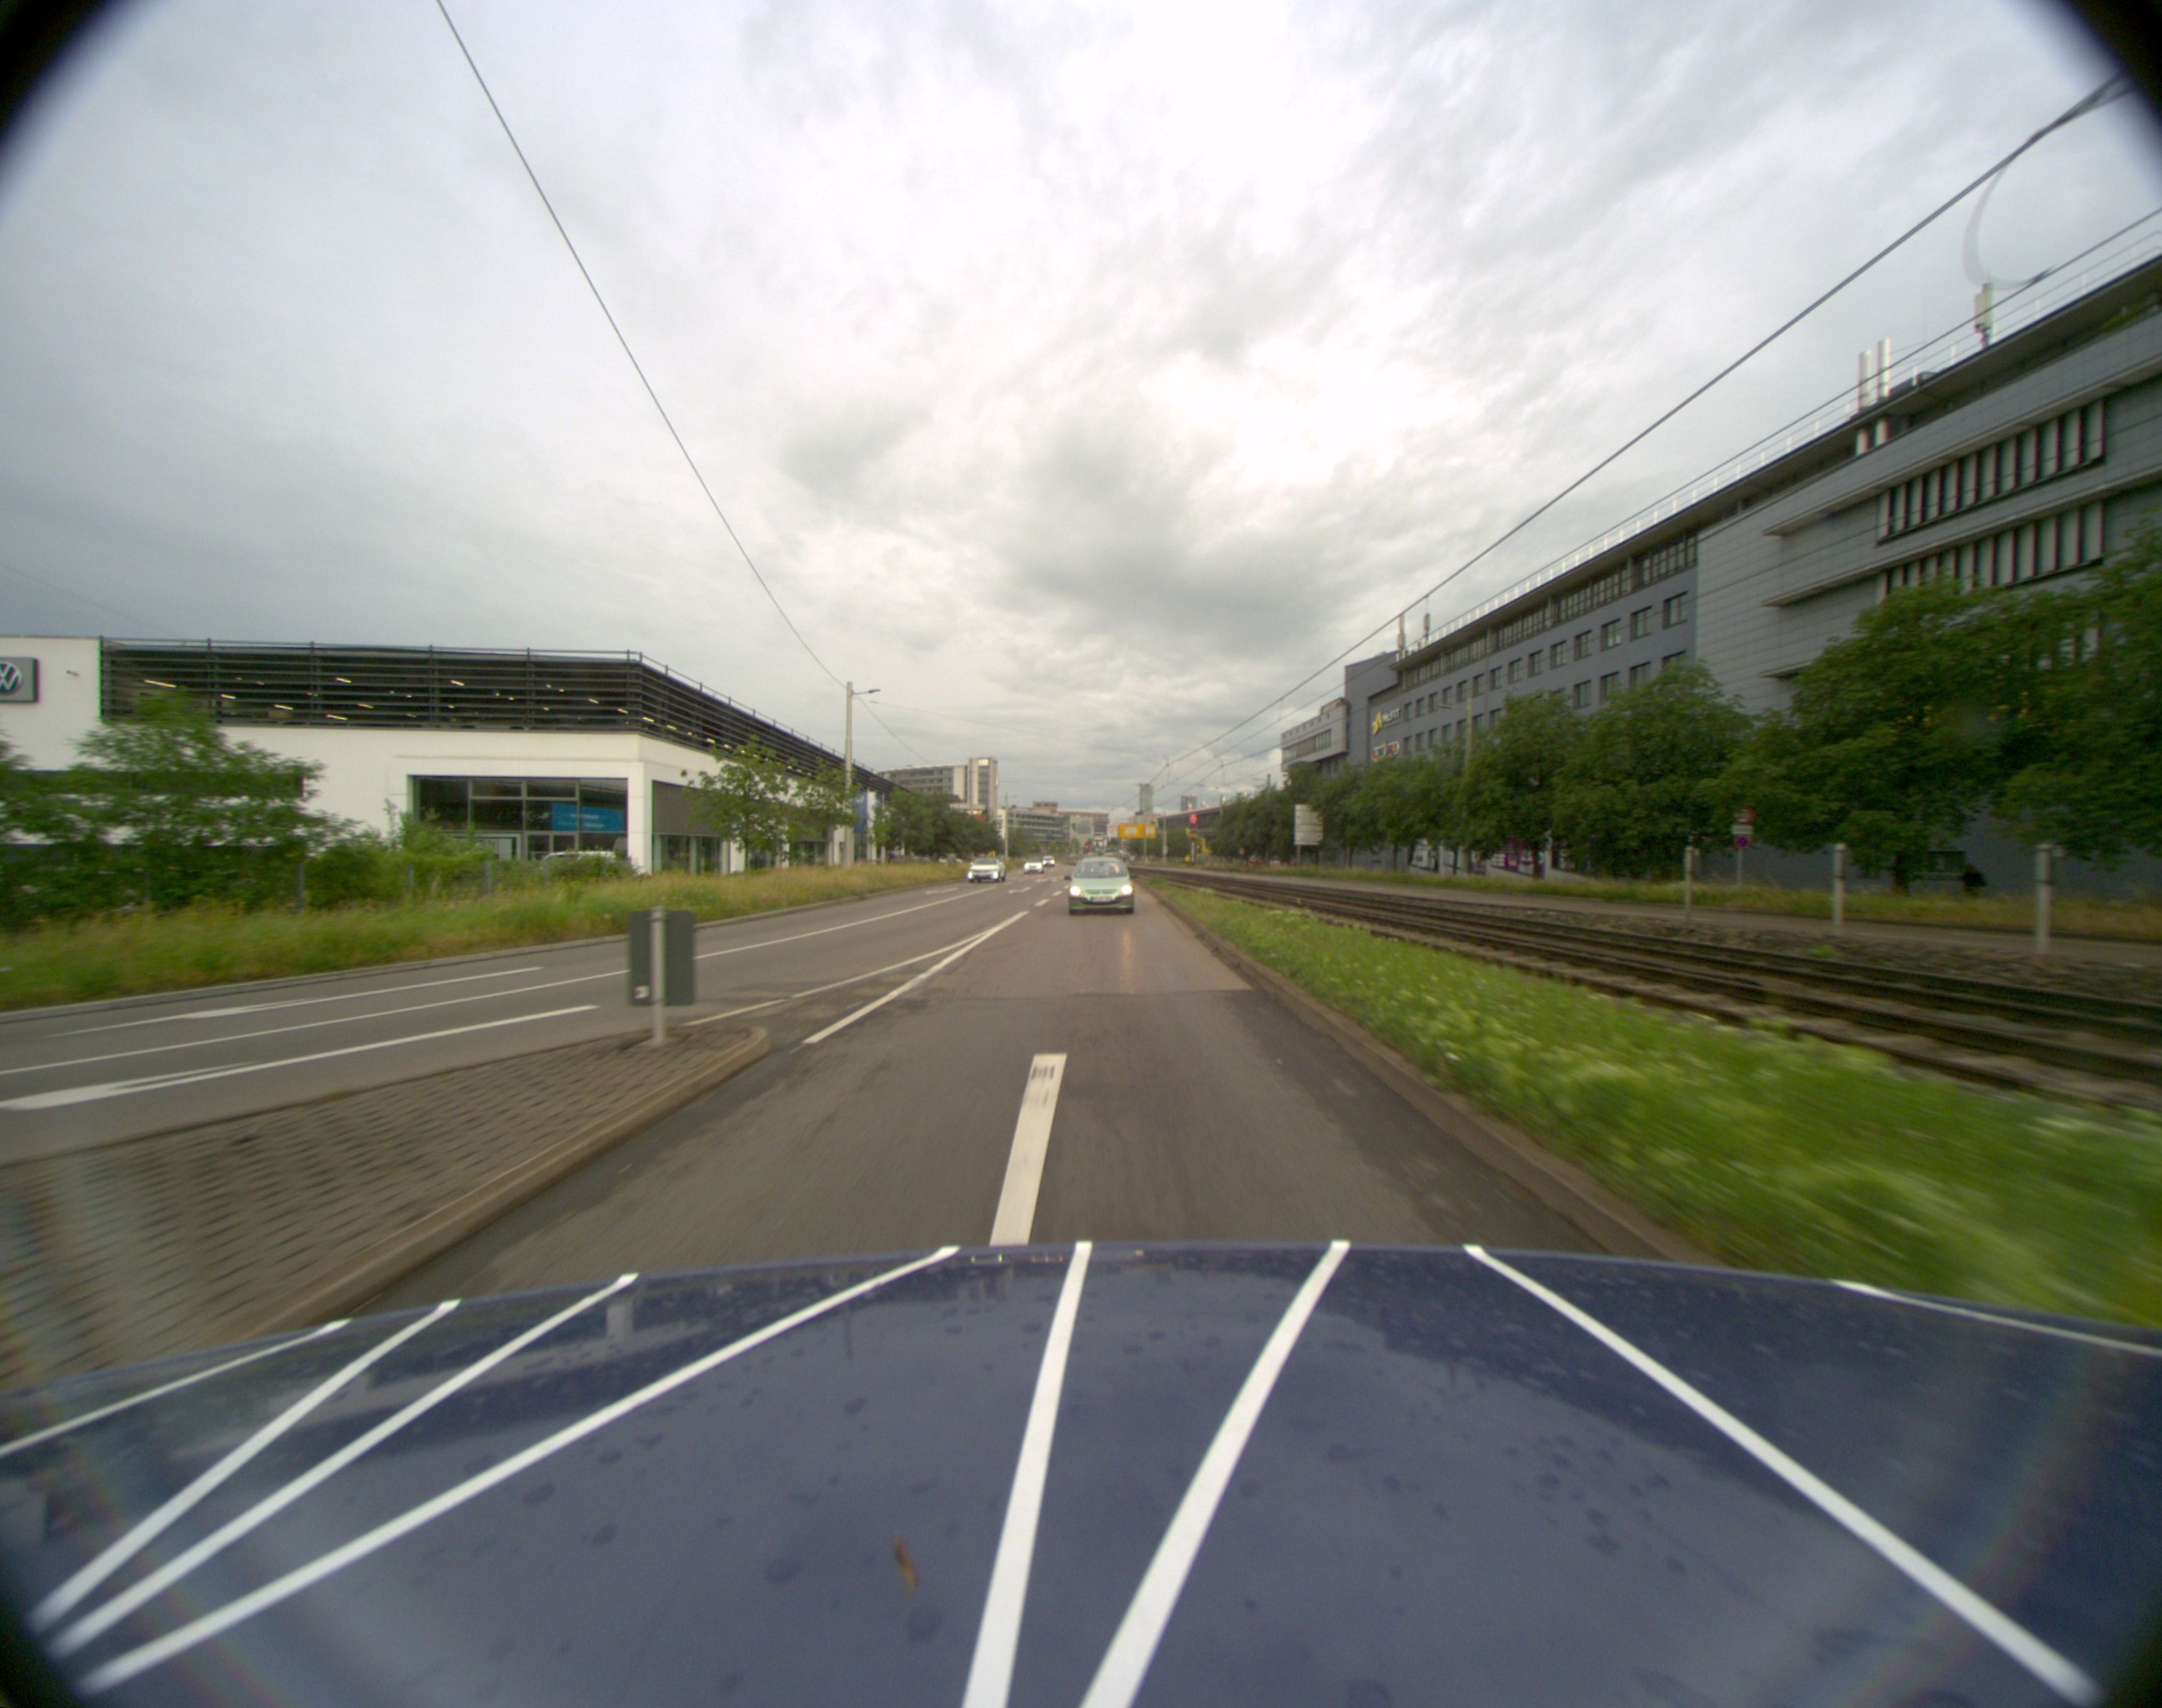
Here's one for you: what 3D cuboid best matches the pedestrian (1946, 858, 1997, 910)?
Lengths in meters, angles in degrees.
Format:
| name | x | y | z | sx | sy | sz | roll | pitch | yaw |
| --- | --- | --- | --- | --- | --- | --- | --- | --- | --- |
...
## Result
| name | x | y | z | sx | sy | sz | roll | pitch | yaw |
| --- | --- | --- | --- | --- | --- | --- | --- | --- | --- |
| pedestrian | 30.610 | 1.013 | 26.134 | 0.727 | 1.745 | 0.877 | -2 | 1 | 1 |

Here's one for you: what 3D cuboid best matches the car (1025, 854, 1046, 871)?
| name | x | y | z | sx | sy | sz | roll | pitch | yaw |
| --- | --- | --- | --- | --- | --- | --- | --- | --- | --- |
| car | -4.227 | 0.767 | 71.363 | 1.819 | 1.584 | 3.836 | 0 | 0 | -1 |

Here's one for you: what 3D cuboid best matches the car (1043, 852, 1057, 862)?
| name | x | y | z | sx | sy | sz | roll | pitch | yaw |
| --- | --- | --- | --- | --- | --- | --- | --- | --- | --- |
| car | -4.874 | 0.519 | 119.900 | 1.890 | 1.584 | 3.982 | 0 | 0 | 3 |

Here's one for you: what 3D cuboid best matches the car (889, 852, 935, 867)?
| name | x | y | z | sx | sy | sz | roll | pitch | yaw |
| --- | --- | --- | --- | --- | --- | --- | --- | --- | --- |
| car | -19.006 | 0.622 | 85.350 | 4.634 | 1.559 | 1.847 | 1 | 1 | -33 |

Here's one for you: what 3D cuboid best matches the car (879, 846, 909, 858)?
| name | x | y | z | sx | sy | sz | roll | pitch | yaw |
| --- | --- | --- | --- | --- | --- | --- | --- | --- | --- |
| car | -27.611 | -0.283 | 112.219 | 3.997 | 1.499 | 1.785 | -2 | 1 | -1 |

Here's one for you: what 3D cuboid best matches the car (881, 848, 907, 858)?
| name | x | y | z | sx | sy | sz | roll | pitch | yaw |
| --- | --- | --- | --- | --- | --- | --- | --- | --- | --- |
| car | -31.736 | -0.193 | 128.845 | 3.998 | 1.528 | 1.904 | 1 | 1 | -4 |

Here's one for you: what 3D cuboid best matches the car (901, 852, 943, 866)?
| name | x | y | z | sx | sy | sz | roll | pitch | yaw |
| --- | --- | --- | --- | --- | --- | --- | --- | --- | --- |
| car | -18.649 | 0.572 | 89.276 | 4.384 | 1.560 | 1.794 | 1 | 1 | -34 |

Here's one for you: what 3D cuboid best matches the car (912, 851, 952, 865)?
| name | x | y | z | sx | sy | sz | roll | pitch | yaw |
| --- | --- | --- | --- | --- | --- | --- | --- | --- | --- |
| car | -18.162 | 0.504 | 92.803 | 4.363 | 1.617 | 1.851 | 1 | 1 | -33 |

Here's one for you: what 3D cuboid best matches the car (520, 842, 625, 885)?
| name | x | y | z | sx | sy | sz | roll | pitch | yaw |
| --- | --- | --- | --- | --- | --- | --- | --- | --- | --- |
| car | -25.446 | 0.421 | 38.276 | 2.049 | 2.002 | 5.089 | -1 | 0 | -3 |

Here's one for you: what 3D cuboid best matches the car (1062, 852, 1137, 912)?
| name | x | y | z | sx | sy | sz | roll | pitch | yaw |
| --- | --- | --- | --- | --- | --- | --- | --- | --- | --- |
| car | 0.416 | 0.729 | 21.205 | 1.762 | 1.489 | 4.136 | -1 | 0 | -3 |

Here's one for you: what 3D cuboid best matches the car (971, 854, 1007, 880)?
| name | x | y | z | sx | sy | sz | roll | pitch | yaw |
| --- | --- | --- | --- | --- | --- | --- | --- | --- | --- |
| car | -5.589 | 0.770 | 46.608 | 1.879 | 1.485 | 3.835 | 0 | 0 | -2 |

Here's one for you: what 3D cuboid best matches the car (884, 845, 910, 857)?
| name | x | y | z | sx | sy | sz | roll | pitch | yaw |
| --- | --- | --- | --- | --- | --- | --- | --- | --- | --- |
| car | -31.865 | -0.472 | 131.498 | 4.038 | 1.964 | 1.944 | 1 | 1 | -4 |

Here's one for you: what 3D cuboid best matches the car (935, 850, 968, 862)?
| name | x | y | z | sx | sy | sz | roll | pitch | yaw |
| --- | --- | --- | --- | --- | --- | --- | --- | --- | --- |
| car | -17.711 | 0.265 | 103.922 | 4.109 | 1.560 | 1.794 | 1 | 2 | -39 |
